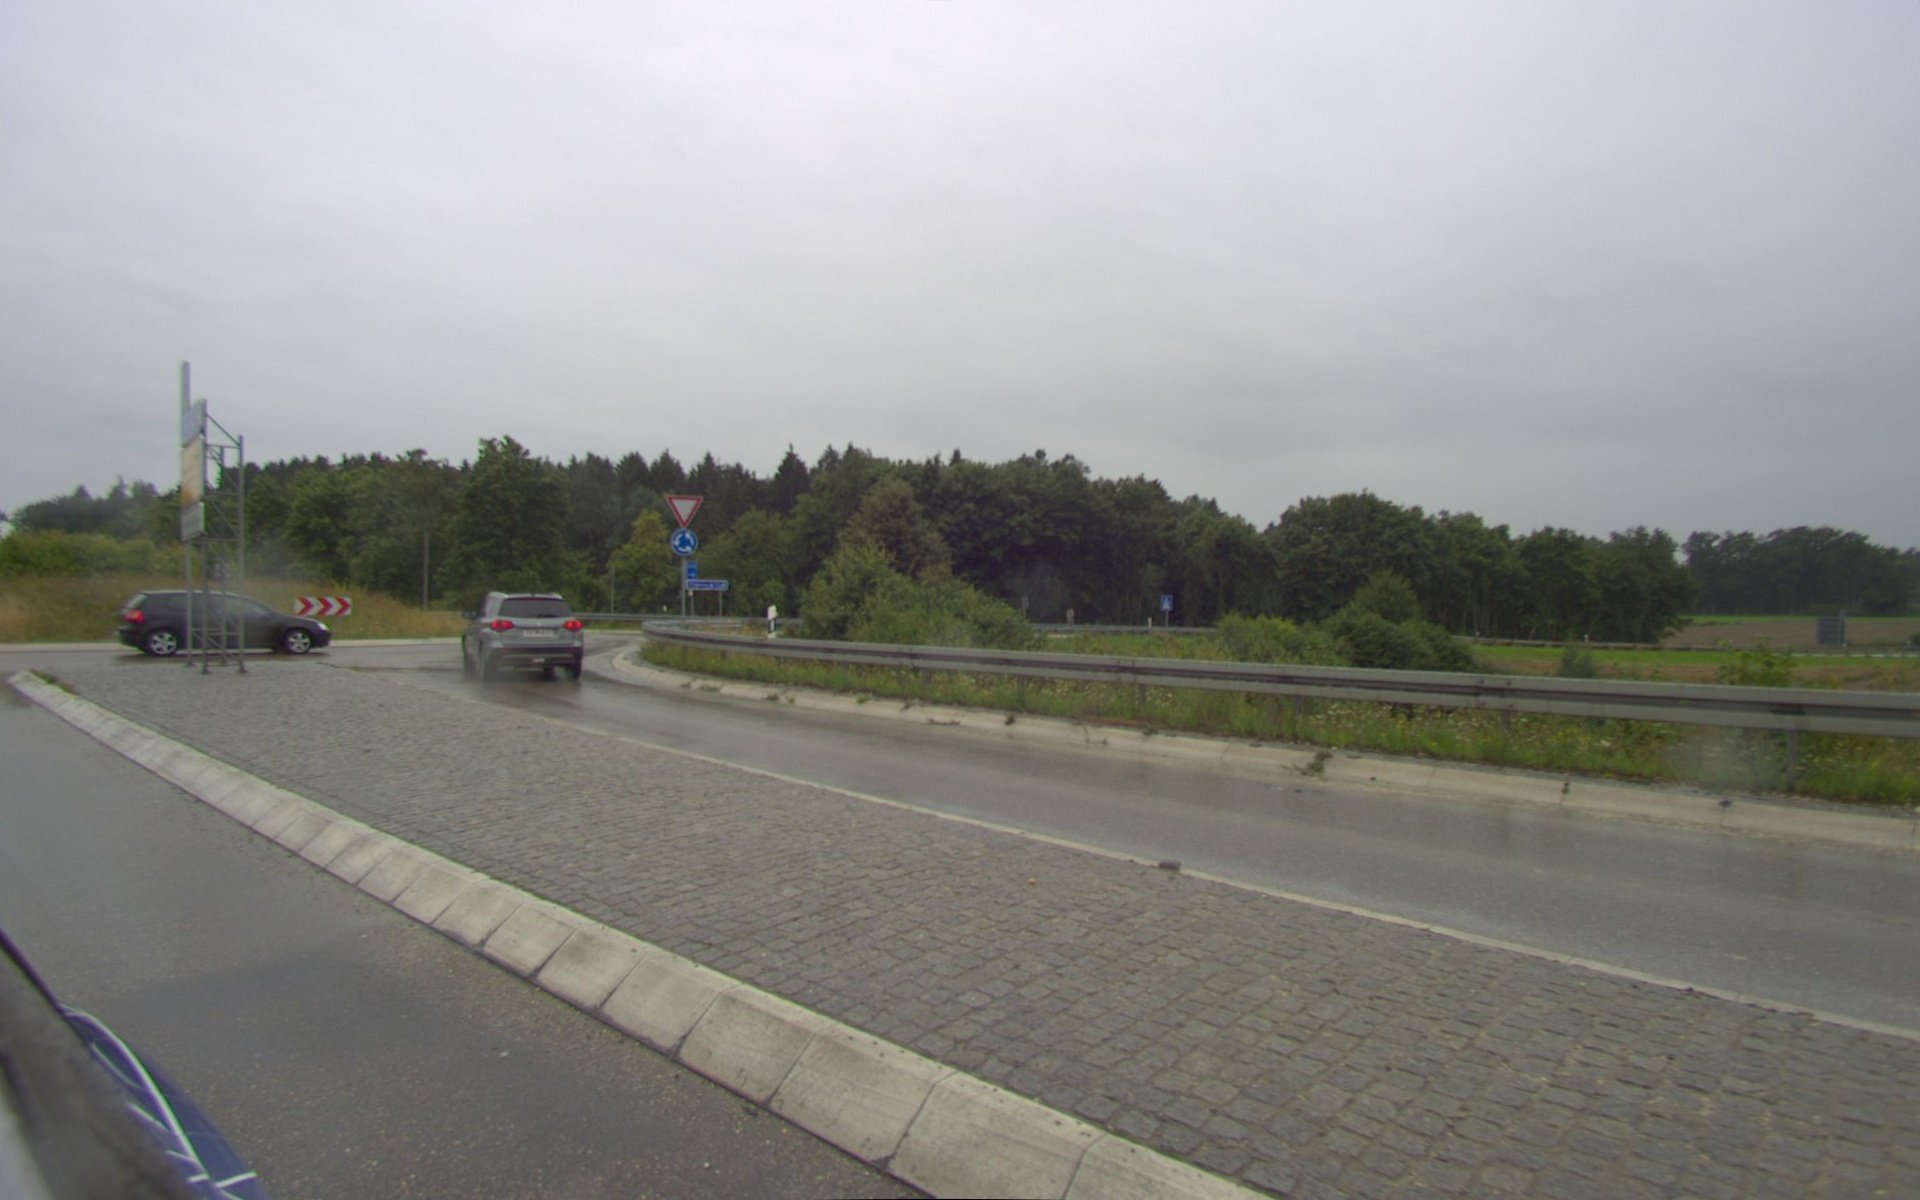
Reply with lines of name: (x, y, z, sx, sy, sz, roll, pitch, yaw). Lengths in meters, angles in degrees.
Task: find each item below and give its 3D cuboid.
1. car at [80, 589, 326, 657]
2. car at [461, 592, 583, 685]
car: (-17.487, 0.511, 23.506, 4.434, 1.432, 1.877, 0, -1, -42)
car: (-8.591, 0.648, 19.673, 1.775, 1.586, 4.013, -1, 1, -29)
